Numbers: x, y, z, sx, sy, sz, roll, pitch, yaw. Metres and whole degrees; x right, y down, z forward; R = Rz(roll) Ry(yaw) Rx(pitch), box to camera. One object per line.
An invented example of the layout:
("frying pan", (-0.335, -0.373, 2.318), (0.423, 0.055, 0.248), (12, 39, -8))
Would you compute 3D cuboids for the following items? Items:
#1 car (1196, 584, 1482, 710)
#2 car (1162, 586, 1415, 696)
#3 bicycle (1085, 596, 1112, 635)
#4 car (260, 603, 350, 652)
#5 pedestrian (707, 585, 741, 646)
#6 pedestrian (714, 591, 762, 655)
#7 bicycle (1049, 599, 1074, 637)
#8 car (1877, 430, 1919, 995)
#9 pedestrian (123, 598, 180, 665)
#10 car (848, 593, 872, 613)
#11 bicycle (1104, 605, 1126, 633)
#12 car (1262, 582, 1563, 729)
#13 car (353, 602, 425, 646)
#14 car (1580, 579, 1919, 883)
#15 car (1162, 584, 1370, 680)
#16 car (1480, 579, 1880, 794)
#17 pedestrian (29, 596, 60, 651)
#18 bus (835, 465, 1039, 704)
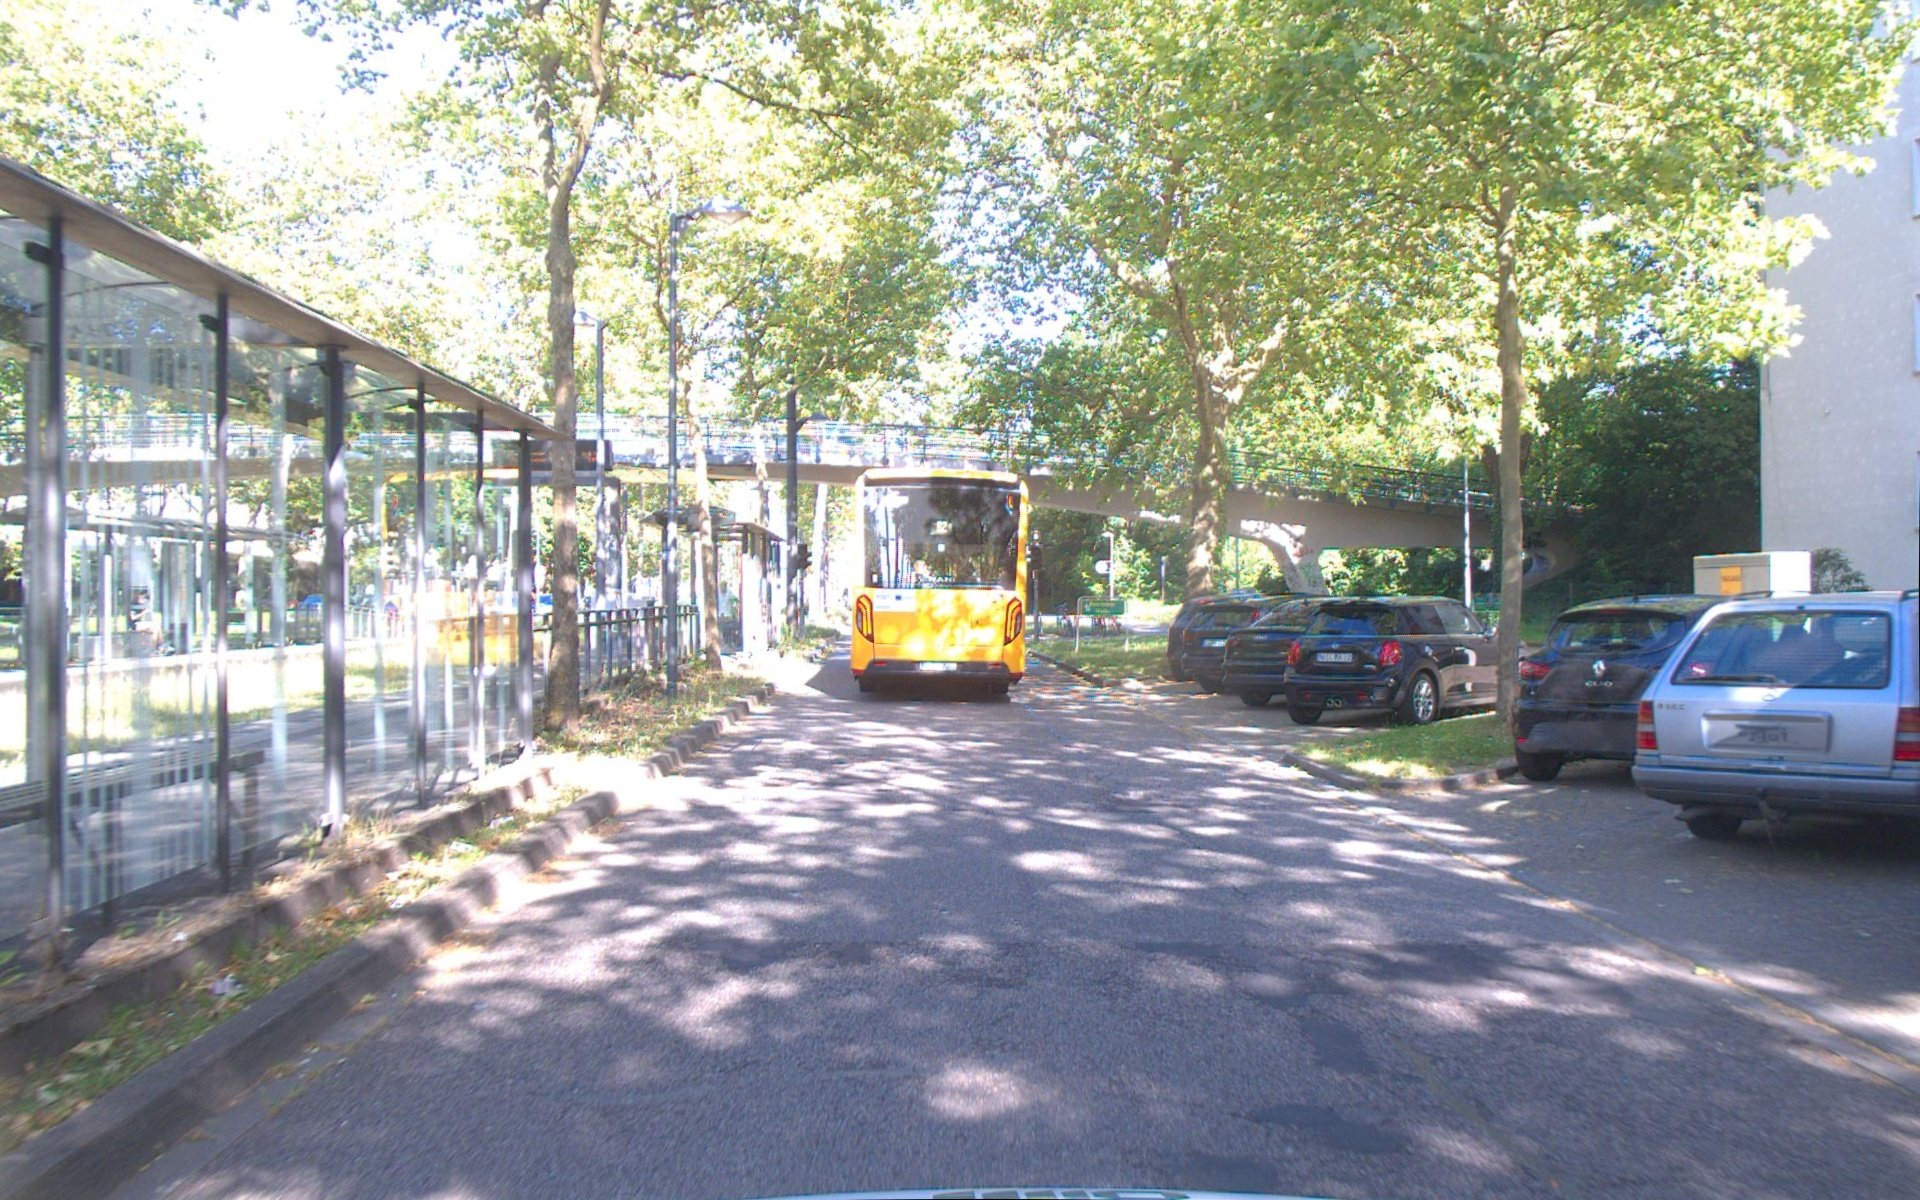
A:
("car", (5.336, 0.606, 23.001), (4.222, 1.487, 1.772), (-3, 0, -43))
("car", (5.270, 0.607, 26.246), (4.222, 1.487, 1.772), (-3, 0, -43))
("bicycle", (4.594, 0.503, 54.951), (0.578, 1.203, 1.799), (-3, 1, -3))
("car", (-22.409, 0.916, 56.725), (1.759, 1.593, 4.283), (0, 0, -6))
("pedestrian", (-5.642, 0.361, 39.534), (0.710, 1.442, 0.681), (1, 0, -3))
("pedestrian", (-4.497, 0.469, 33.513), (0.837, 1.265, 0.850), (1, 0, -1))
("bicycle", (3.365, 0.593, 54.983), (0.578, 1.203, 1.799), (-3, 1, -3))
("car", (5.793, 0.318, 6.987), (4.553, 2.088, 1.986), (-3, 0, -43))
("pedestrian", (-15.544, 0.597, 31.803), (0.762, 1.259, 0.721), (0, 0, -4))
("car", (-9.393, 0.279, 155.452), (1.946, 1.672, 4.133), (3, 1, -1))
("bicycle", (5.182, 0.631, 55.245), (0.495, 0.867, 1.472), (-3, 1, -3))
("car", (5.522, 0.613, 19.936), (1.753, 1.493, 3.972), (-2, 0, 45))
("car", (-21.759, 0.896, 62.971), (1.776, 1.593, 4.242), (0, 0, -31))
("car", (5.824, 0.633, 10.437), (4.555, 1.448, 1.771), (-3, 0, -44))
("car", (5.501, 0.541, 29.436), (1.769, 1.487, 3.975), (-2, 0, 43))
("car", (6.112, 0.624, 13.827), (1.770, 1.441, 3.896), (-2, 0, 44))
("pedestrian", (-28.603, 0.733, 51.687), (0.635, 1.690, 0.649), (0, 0, -7))
("bus", (-0.636, -0.210, 29.169), (2.842, 3.324, 12.210), (0, 0, -3))
